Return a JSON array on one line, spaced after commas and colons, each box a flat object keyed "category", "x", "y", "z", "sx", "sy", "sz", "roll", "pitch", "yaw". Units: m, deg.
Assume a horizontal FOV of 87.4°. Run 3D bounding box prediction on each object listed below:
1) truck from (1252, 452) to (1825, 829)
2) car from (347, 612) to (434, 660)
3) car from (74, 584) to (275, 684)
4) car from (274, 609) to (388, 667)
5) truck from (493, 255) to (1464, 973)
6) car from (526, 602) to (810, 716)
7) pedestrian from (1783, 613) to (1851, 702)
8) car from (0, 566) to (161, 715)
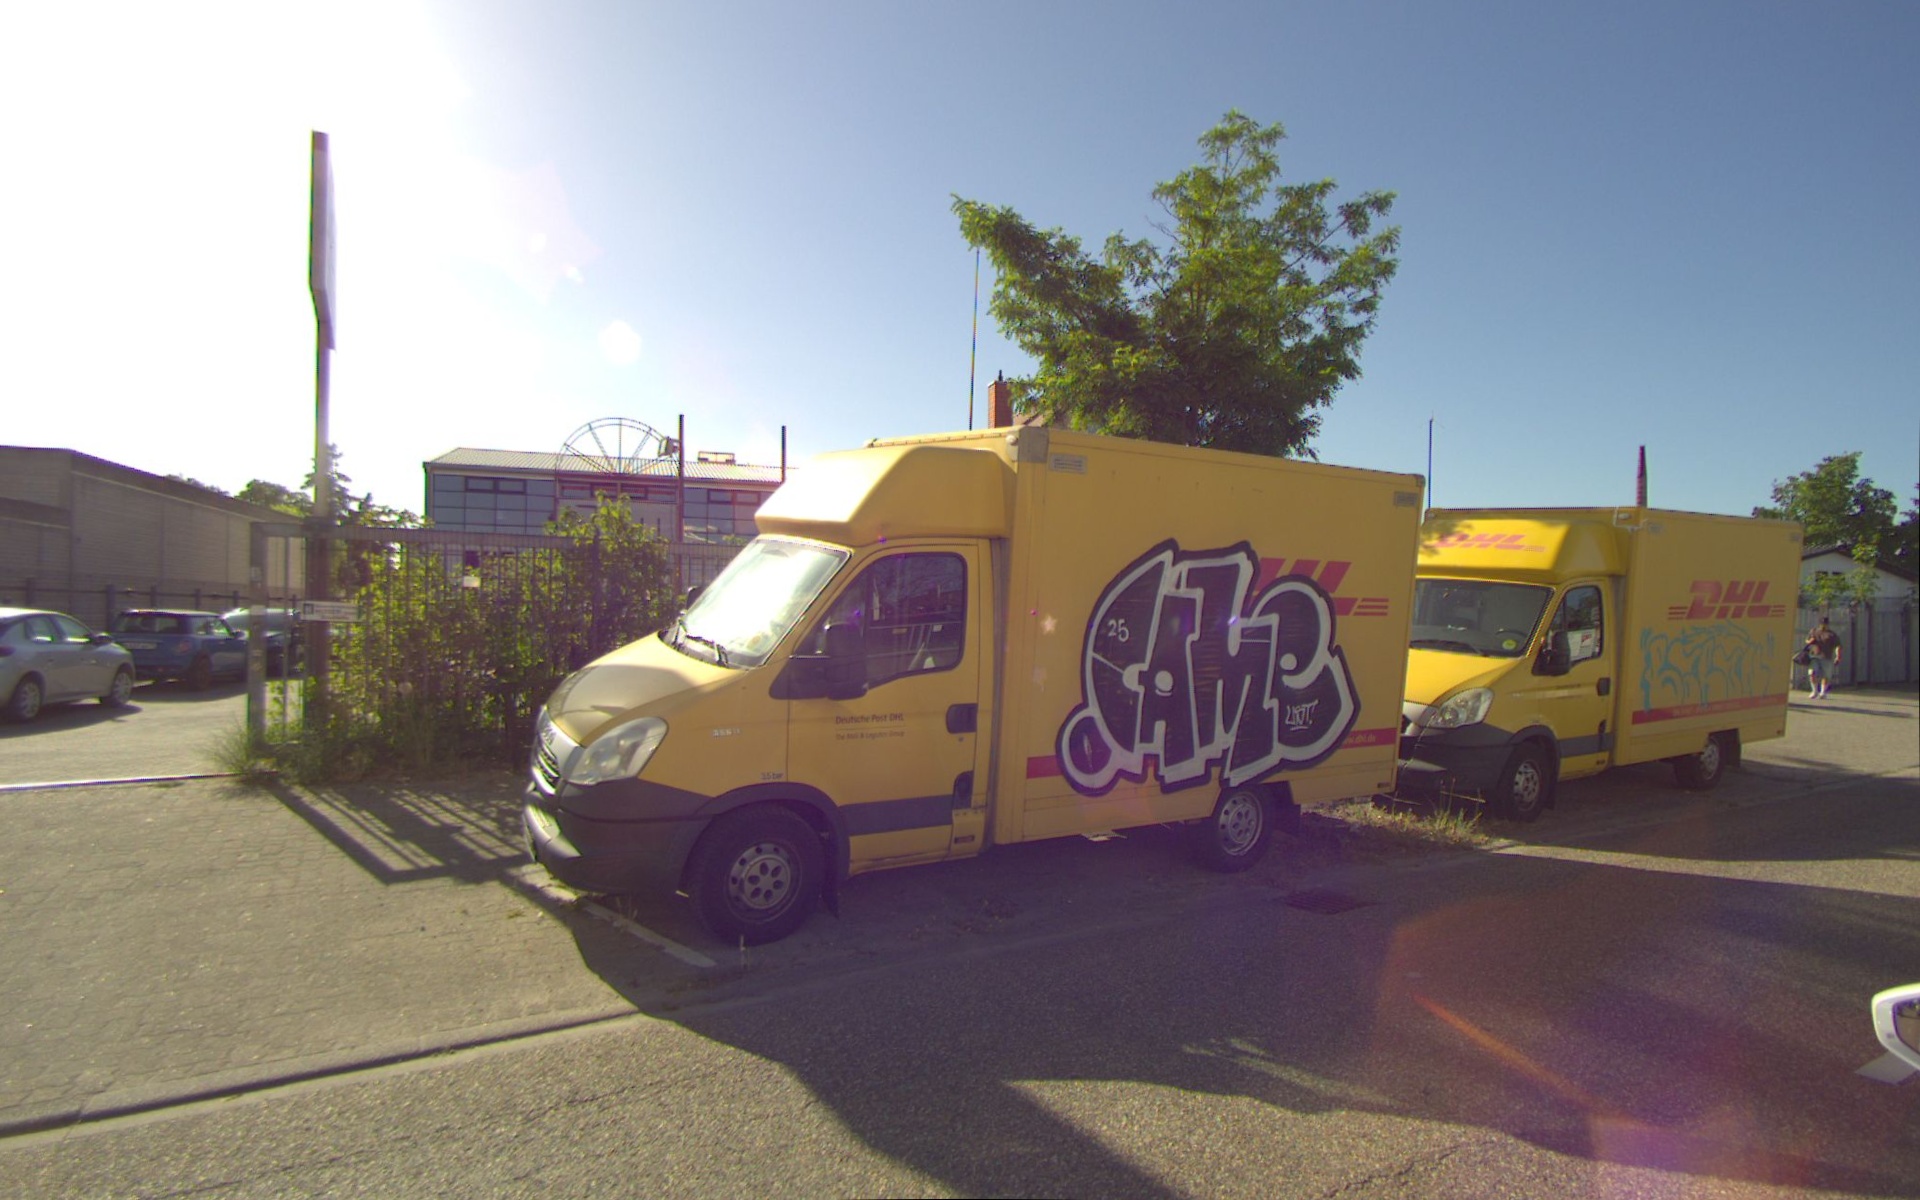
[{"category": "truck", "x": 6.163, "y": 0.365, "z": 10.390, "sx": 6.363, "sy": 2.941, "sz": 2.182, "roll": 2, "pitch": 1, "yaw": -30}, {"category": "car", "x": -19.441, "y": 1.194, "z": 34.458, "sx": 1.804, "sy": 1.510, "sz": 3.872, "roll": 2, "pitch": -1, "yaw": -18}, {"category": "car", "x": -14.836, "y": 0.612, "z": 19.257, "sx": 1.818, "sy": 1.680, "sz": 4.083, "roll": 1, "pitch": -1, "yaw": -20}, {"category": "car", "x": -17.825, "y": 1.040, "z": 28.659, "sx": 1.804, "sy": 1.510, "sz": 3.872, "roll": 2, "pitch": -1, "yaw": -18}, {"category": "truck", "x": 0.404, "y": 0.123, "z": 6.894, "sx": 6.300, "sy": 3.023, "sz": 2.390, "roll": 2, "pitch": 1, "yaw": -31}, {"category": "car", "x": -4.425, "y": 0.863, "z": 15.516, "sx": 3.979, "sy": 1.599, "sz": 1.693, "roll": 1, "pitch": -1, "yaw": -18}, {"category": "pedestrian", "x": 18.495, "y": 1.219, "z": 21.676, "sx": 0.913, "sy": 1.862, "sz": 0.988, "roll": 1, "pitch": -1, "yaw": -40}, {"category": "car", "x": -13.052, "y": 0.499, "z": 13.934, "sx": 1.818, "sy": 1.816, "sz": 4.083, "roll": 1, "pitch": -1, "yaw": -20}]
